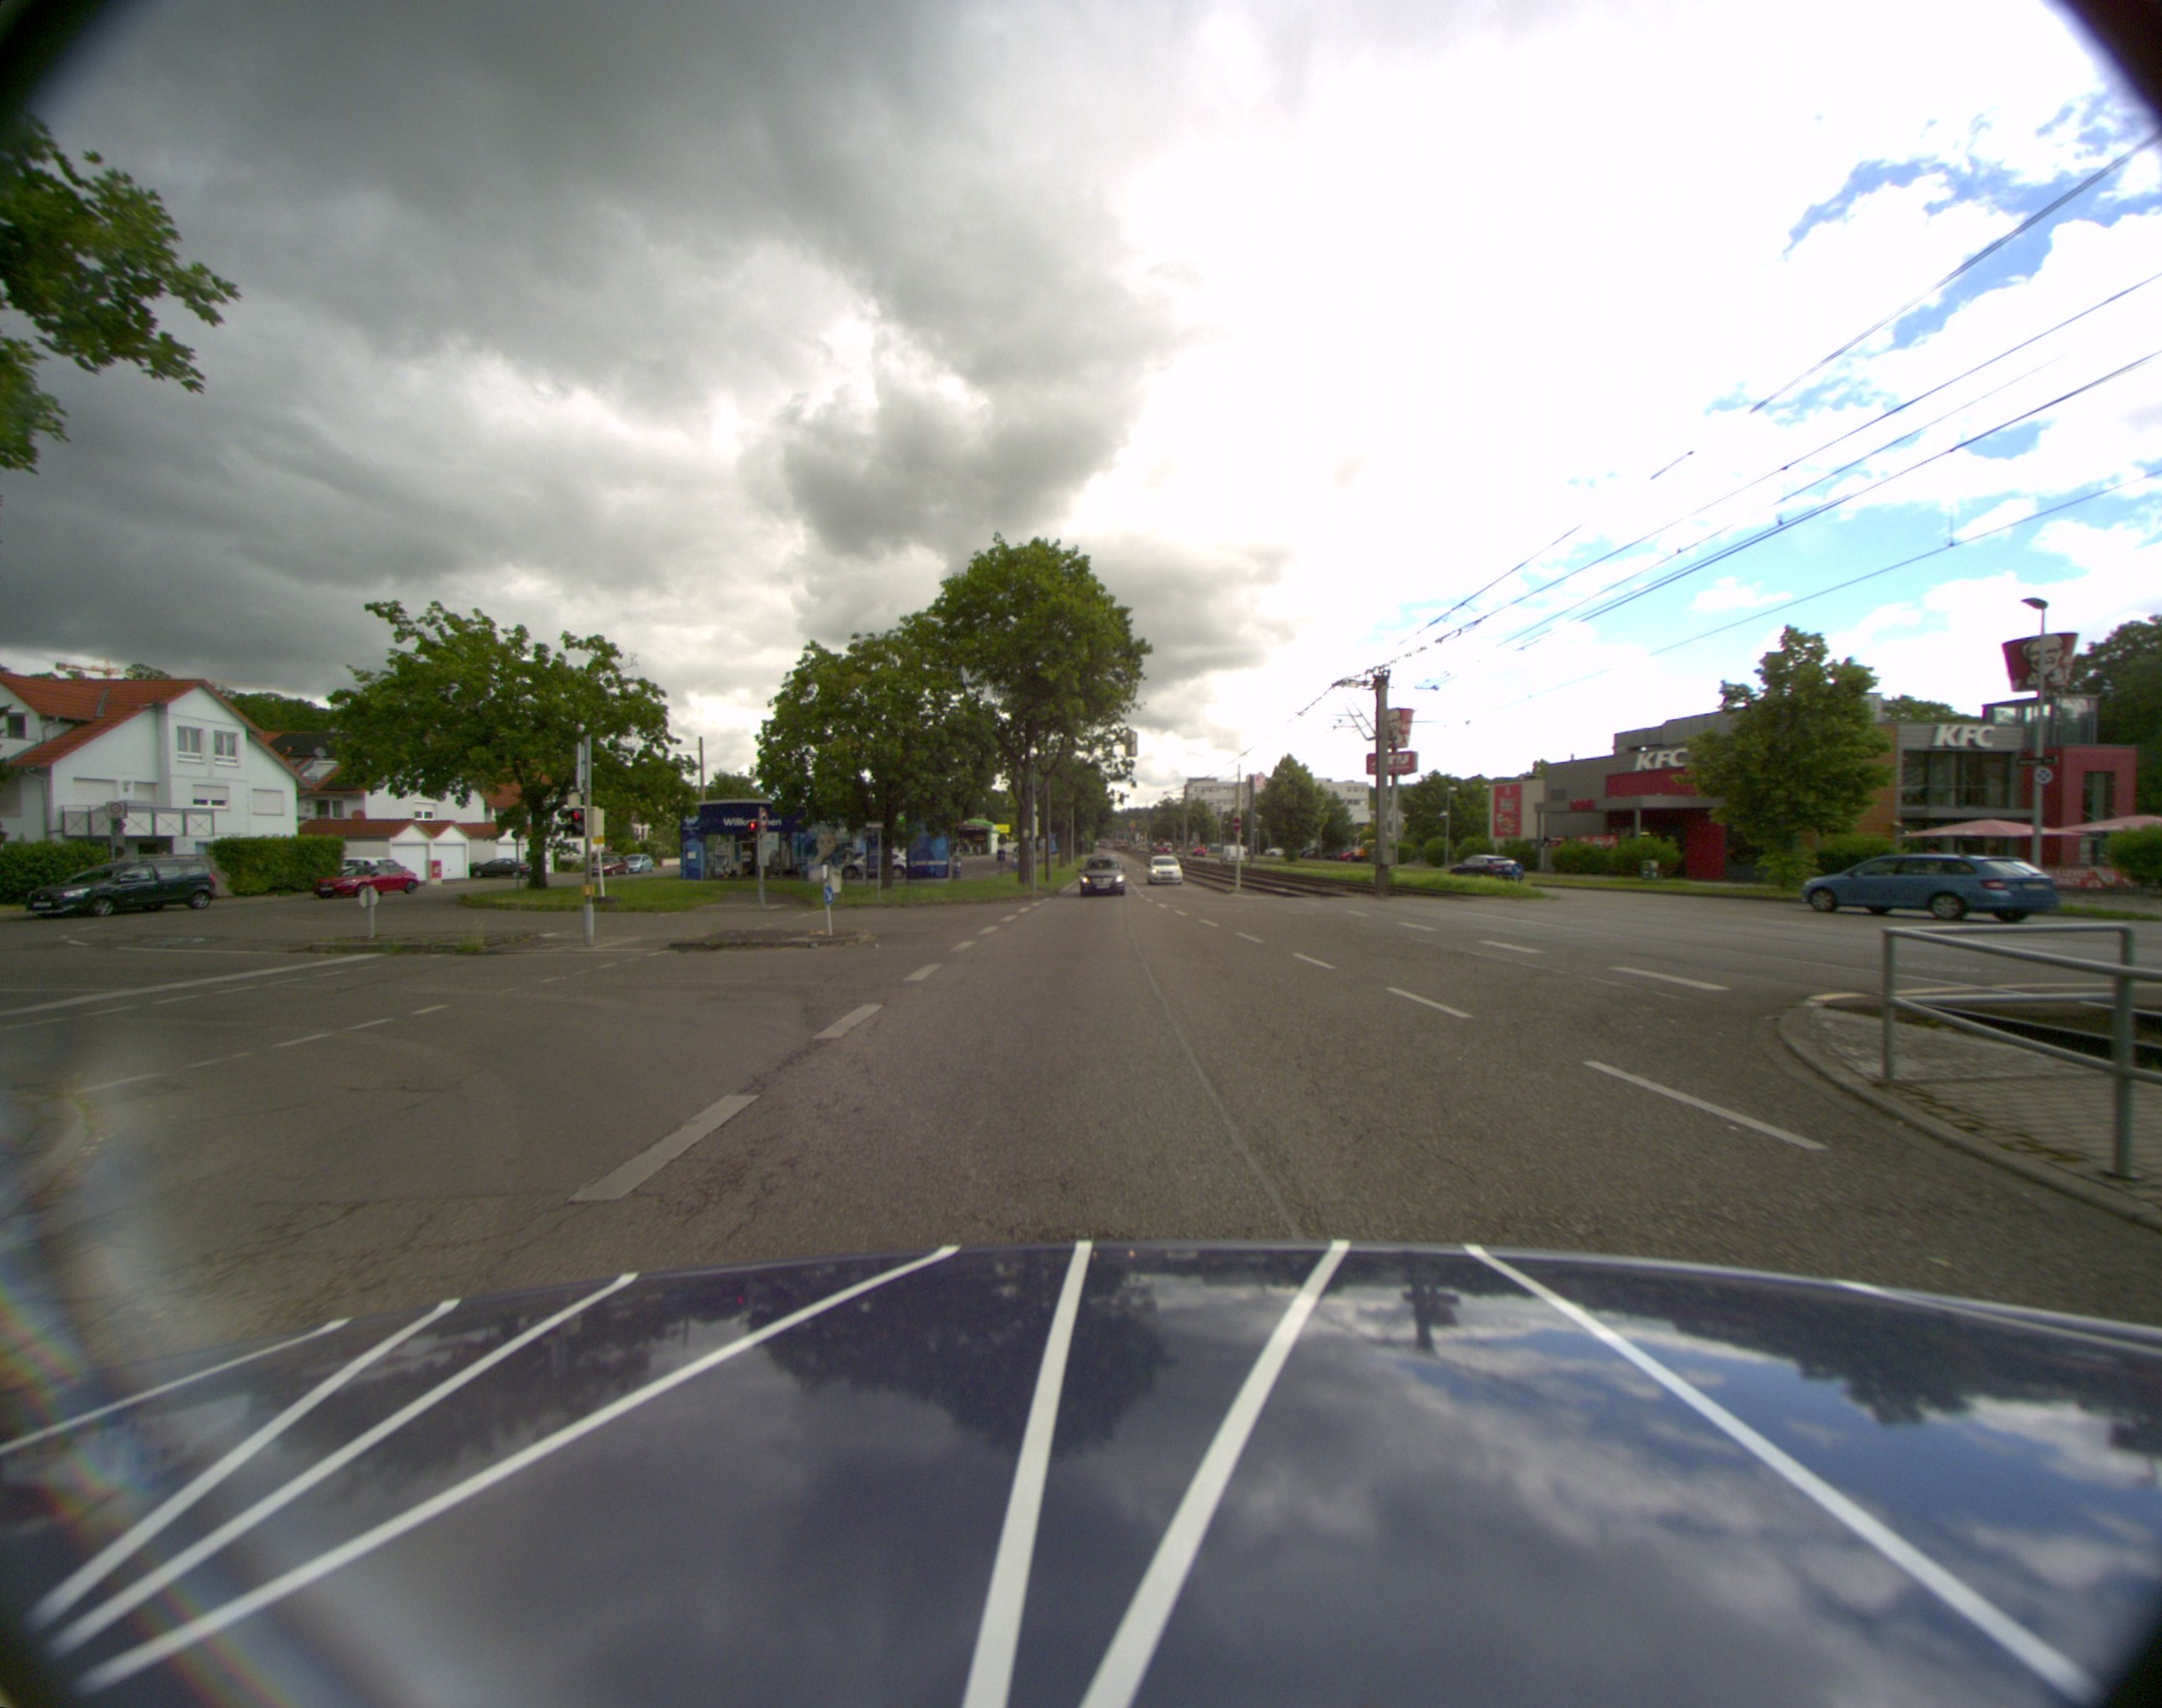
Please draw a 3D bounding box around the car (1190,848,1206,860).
[{"bbox_3d":[20.098,0.052,130.919,1.999,2.002,4.245,0,1,-3],"label":"car"}]

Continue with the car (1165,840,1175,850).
[{"bbox_3d":[22.308,-2.238,191.056,1.873,2.485,5.999,1,1,0],"label":"car"}]

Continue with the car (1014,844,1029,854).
[{"bbox_3d":[-10.486,-0.855,134.119,1.998,1.629,4.326,2,1,2],"label":"car"}]

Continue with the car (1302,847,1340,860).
[{"bbox_3d":[29.500,-0.096,93.480,3.997,1.413,1.937,-3,1,1],"label":"car"}]

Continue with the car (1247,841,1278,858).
[{"bbox_3d":[29.755,-0.708,124.439,4.481,2.733,2.288,1,1,1],"label":"car"}]

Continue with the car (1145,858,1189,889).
[{"bbox_3d":[4.540,0.987,40.608,1.786,1.435,3.999,-3,1,-1],"label":"car"}]

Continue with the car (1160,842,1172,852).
[{"bbox_3d":[18.285,-1.478,163.190,1.999,2.002,3.998,1,1,-3],"label":"car"}]

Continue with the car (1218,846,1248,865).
[{"bbox_3d":[16.768,0.166,84.190,1.999,2.002,4.883,0,1,-5],"label":"car"}]

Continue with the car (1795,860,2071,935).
[{"bbox_3d":[19.315,0.914,17.537,1.599,1.438,4.051,1,1,-5],"label":"car"}]

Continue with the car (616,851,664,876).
[{"bbox_3d":[-35.894,0.730,61.934,1.948,1.832,4.461,-3,1,-11],"label":"car"}]

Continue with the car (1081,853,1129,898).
[{"bbox_3d":[0.956,0.829,31.018,1.786,1.614,4.000,-2,0,1],"label":"car"}]

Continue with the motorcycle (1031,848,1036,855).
[{"bbox_3d":[-8.014,-0.432,128.403,0.704,1.180,2.387,0,1,-5],"label":"motorcycle"}]

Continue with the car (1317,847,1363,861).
[{"bbox_3d":[29.296,0.022,86.039,4.384,1.346,2.195,-3,1,1],"label":"car"}]

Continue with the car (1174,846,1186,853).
[{"bbox_3d":[20.871,-0.995,159.646,1.998,1.474,3.999,2,1,0],"label":"car"}]

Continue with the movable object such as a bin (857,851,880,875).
[{"bbox_3d":[-13.797,0.574,49.451,1.161,1.466,1.387,0,1,-2],"label":"movable object such as a bin"}]

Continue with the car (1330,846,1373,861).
[{"bbox_3d":[29.660,-0.068,83.326,3.997,1.359,2.093,-3,1,1],"label":"car"}]

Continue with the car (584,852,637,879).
[{"bbox_3d":[-35.032,0.798,56.703,1.948,1.832,4.247,-3,1,-11],"label":"car"}]

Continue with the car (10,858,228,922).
[{"bbox_3d":[-32.087,1.112,25.590,1.722,1.832,4.406,-3,1,-3],"label":"car"}]

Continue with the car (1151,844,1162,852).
[{"bbox_3d":[17.464,-1.402,175.694,1.788,1.573,4.480,1,1,-3],"label":"car"}]

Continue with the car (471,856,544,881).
[{"bbox_3d":[-39.036,0.962,51.772,3.556,1.449,1.775,-3,1,1],"label":"car"}]

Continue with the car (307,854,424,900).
[{"bbox_3d":[-32.587,1.002,34.767,1.620,1.832,3.922,-3,1,-2],"label":"car"}]

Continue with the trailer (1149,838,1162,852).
[{"bbox_3d":[22.117,-2.725,225.688,2.678,3.875,14.424,2,1,1],"label":"trailer"}]

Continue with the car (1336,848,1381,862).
[{"bbox_3d":[29.419,0.123,80.723,3.997,1.229,2.000,-3,1,1],"label":"car"}]

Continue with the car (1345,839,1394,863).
[{"bbox_3d":[28.669,-0.291,75.505,3.997,2.153,2.058,-3,1,1],"label":"car"}]

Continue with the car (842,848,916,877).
[{"bbox_3d":[-12.207,0.528,45.797,4.216,1.687,1.837,0,0,-18],"label":"car"}]

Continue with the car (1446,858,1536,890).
[{"bbox_3d":[20.949,0.991,39.021,1.999,1.473,4.505,2,0,-3],"label":"car"}]

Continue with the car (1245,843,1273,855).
[{"bbox_3d":[31.356,-0.963,133.955,4.355,1.908,2.000,-3,1,5],"label":"car"}]

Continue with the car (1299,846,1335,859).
[{"bbox_3d":[30.453,-0.162,98.017,3.997,1.498,1.937,-3,1,1],"label":"car"}]

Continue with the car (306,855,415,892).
[{"bbox_3d":[-38.598,1.019,40.787,3.812,1.685,1.919,-3,1,-5],"label":"car"}]

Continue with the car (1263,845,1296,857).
[{"bbox_3d":[30.015,-0.478,115.225,4.482,1.498,1.795,-3,1,-2],"label":"car"}]
